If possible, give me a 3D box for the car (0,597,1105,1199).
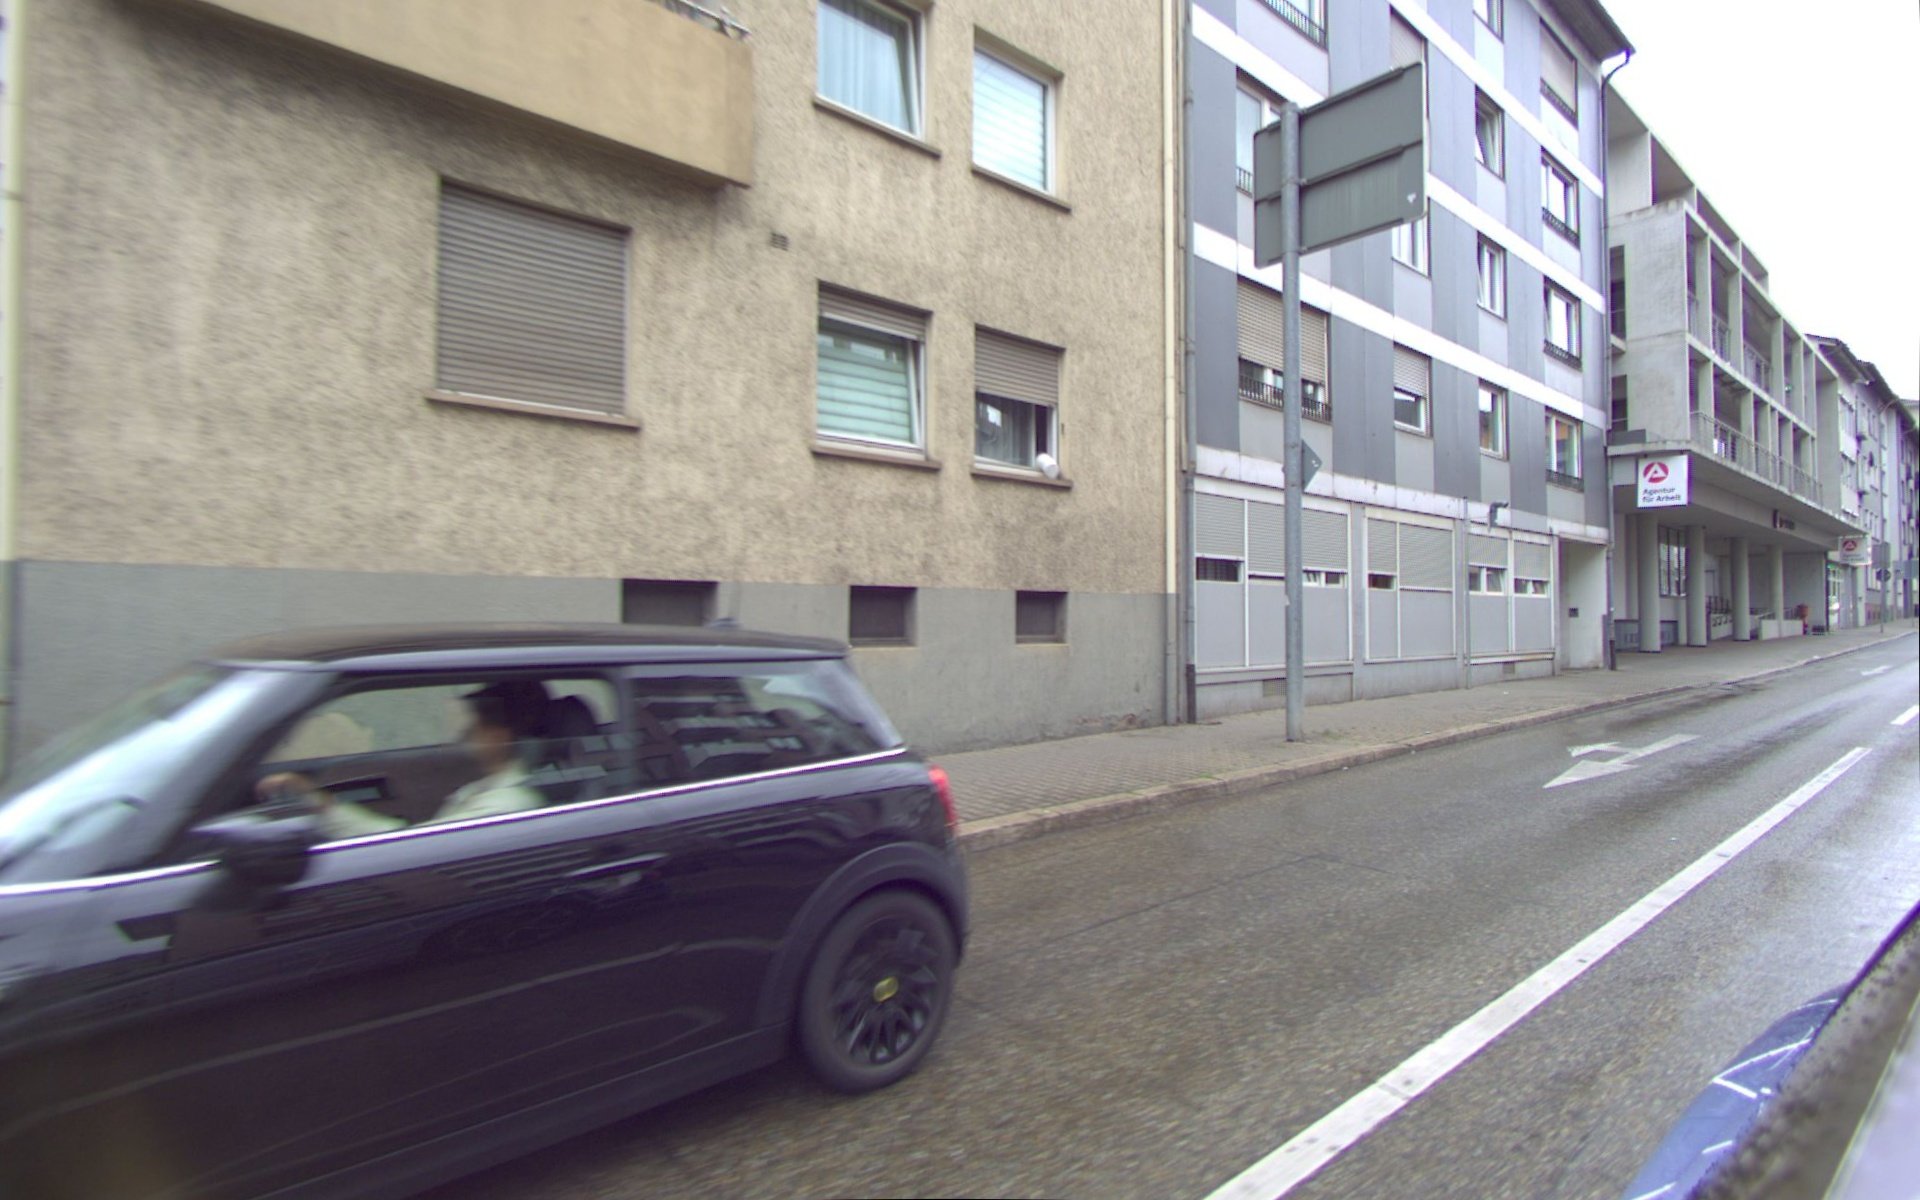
[{"bbox_3d":[-1.503,0.763,3.005,4.004,1.438,1.662,-1,-1,-43],"label":"car"}]

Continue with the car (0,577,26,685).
[{"bbox_3d":[-14.971,0.416,14.914,1.736,1.492,3.319,-1,2,-42],"label":"car"}]
